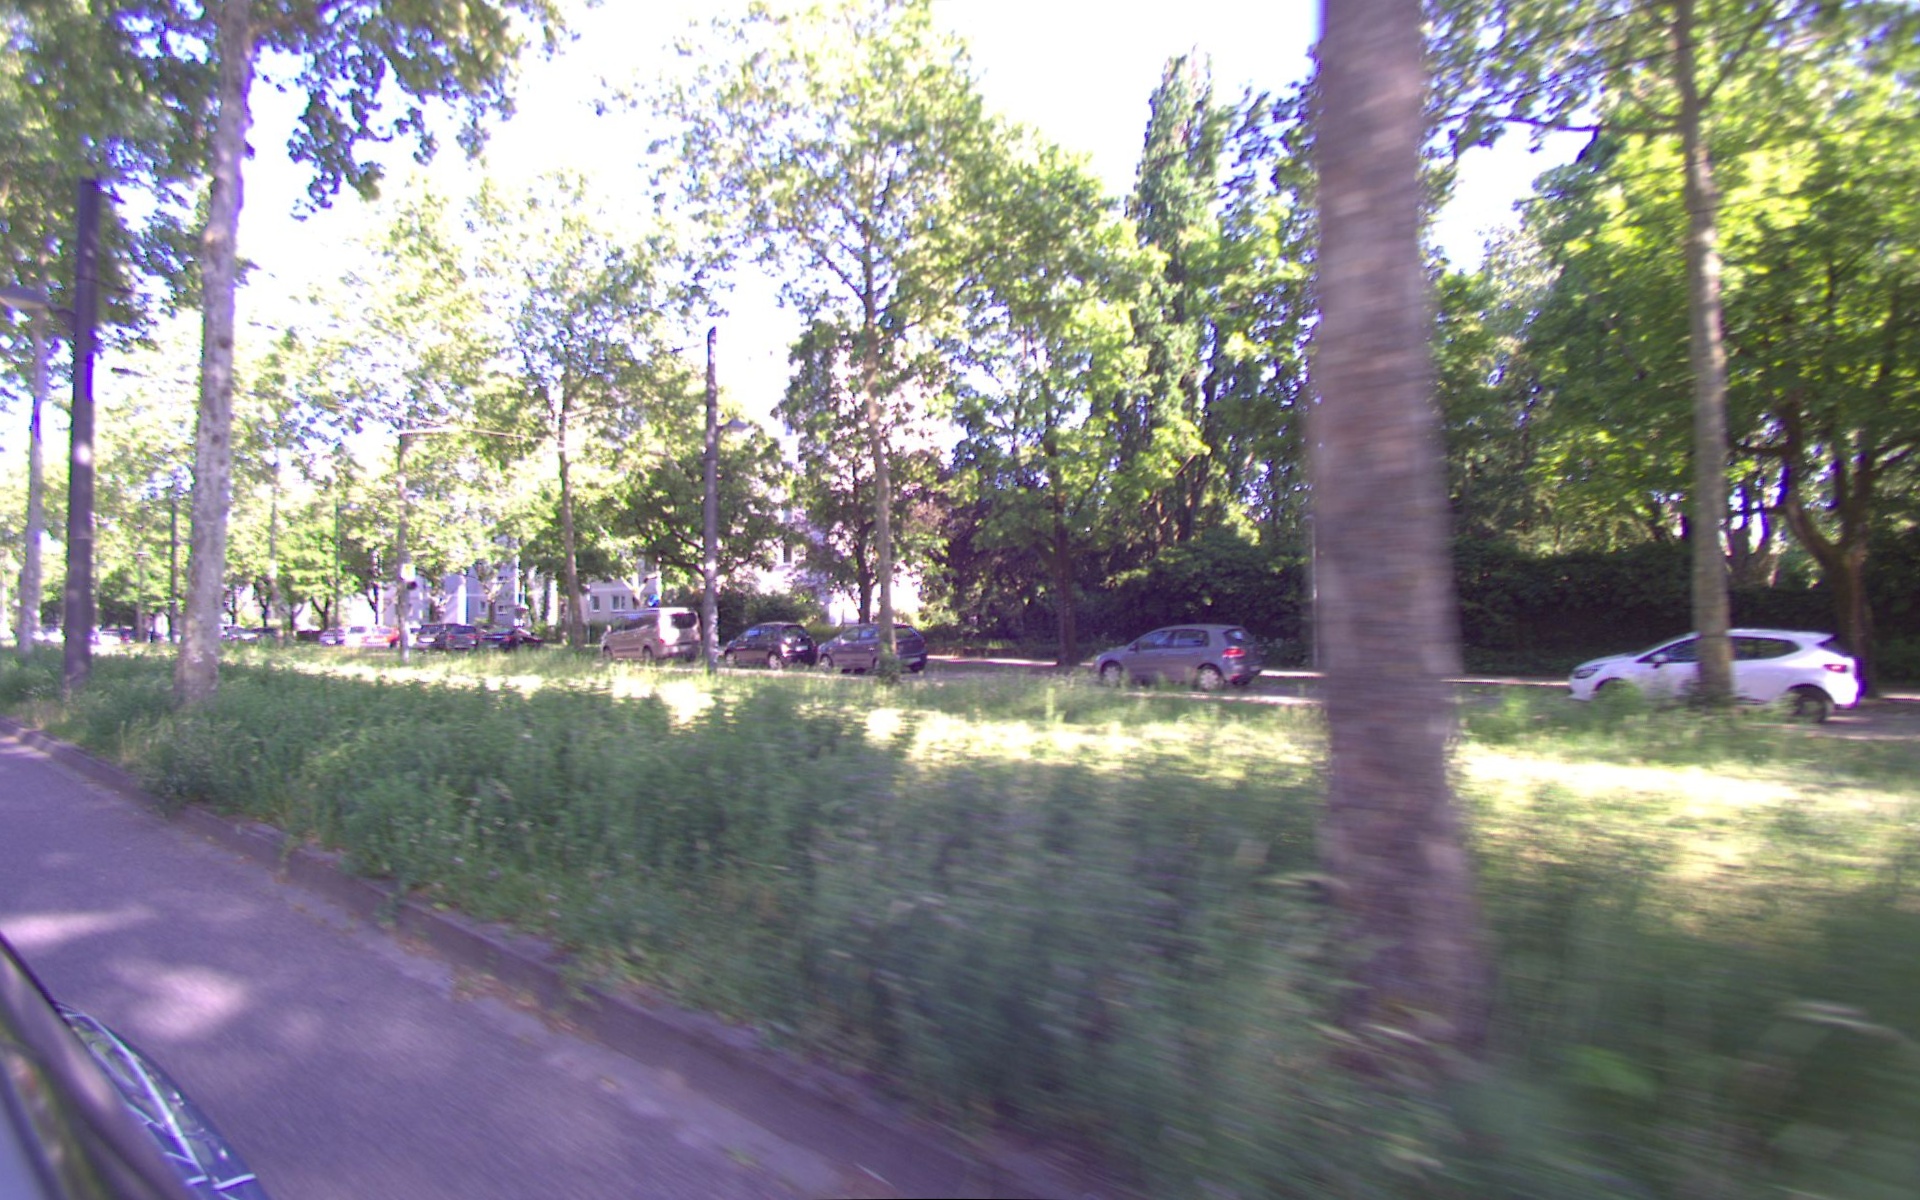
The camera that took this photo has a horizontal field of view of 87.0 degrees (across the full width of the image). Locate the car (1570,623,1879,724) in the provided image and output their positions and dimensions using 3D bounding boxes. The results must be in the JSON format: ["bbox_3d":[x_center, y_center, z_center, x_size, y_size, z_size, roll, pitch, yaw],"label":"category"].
[{"bbox_3d":[12.900,1.161,17.239,4.022,1.429,1.701,-1,2,42],"label":"car"}]

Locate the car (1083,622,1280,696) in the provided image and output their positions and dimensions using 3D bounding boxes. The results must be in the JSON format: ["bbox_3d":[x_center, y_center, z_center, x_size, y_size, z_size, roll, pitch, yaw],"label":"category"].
[{"bbox_3d":[5.216,1.332,24.075,4.176,1.499,1.820,-2,2,40],"label":"car"}]

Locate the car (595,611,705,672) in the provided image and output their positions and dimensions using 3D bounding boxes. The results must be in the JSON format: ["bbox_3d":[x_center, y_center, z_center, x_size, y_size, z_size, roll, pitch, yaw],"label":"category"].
[{"bbox_3d":[-11.863,1.532,38.653,4.276,2.072,1.961,-1,2,41],"label":"car"}]

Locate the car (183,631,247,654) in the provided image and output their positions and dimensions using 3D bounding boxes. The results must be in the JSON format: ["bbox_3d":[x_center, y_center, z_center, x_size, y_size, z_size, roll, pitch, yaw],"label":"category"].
[{"bbox_3d":[-59.102,3.346,80.370,1.821,1.722,3.988,-1,0,10],"label":"car"}]

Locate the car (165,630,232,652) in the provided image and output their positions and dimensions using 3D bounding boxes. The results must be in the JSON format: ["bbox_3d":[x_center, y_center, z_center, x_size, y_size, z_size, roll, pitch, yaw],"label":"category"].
[{"bbox_3d":[-64.031,3.428,85.178,1.821,1.722,4.486,-1,0,10],"label":"car"}]

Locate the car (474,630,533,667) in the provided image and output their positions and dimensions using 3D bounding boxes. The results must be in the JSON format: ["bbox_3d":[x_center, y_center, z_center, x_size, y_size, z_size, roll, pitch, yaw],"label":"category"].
[{"bbox_3d":[-22.021,2.310,48.977,1.858,1.579,4.010,-1,0,-13],"label":"car"}]

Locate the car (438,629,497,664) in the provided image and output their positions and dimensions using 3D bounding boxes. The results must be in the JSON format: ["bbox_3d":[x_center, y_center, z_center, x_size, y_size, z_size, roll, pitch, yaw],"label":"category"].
[{"bbox_3d":[-25.358,2.366,52.193,1.858,1.579,4.010,-1,0,-13],"label":"car"}]

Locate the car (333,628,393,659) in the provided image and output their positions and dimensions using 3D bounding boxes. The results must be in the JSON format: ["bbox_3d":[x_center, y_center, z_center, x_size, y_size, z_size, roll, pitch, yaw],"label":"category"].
[{"bbox_3d":[-36.632,2.619,62.174,1.868,1.722,4.511,-1,0,-13],"label":"car"}]

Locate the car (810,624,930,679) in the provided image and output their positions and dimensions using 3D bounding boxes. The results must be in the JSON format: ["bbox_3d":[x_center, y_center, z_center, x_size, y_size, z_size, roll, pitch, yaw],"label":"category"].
[{"bbox_3d":[-2.765,1.526,30.697,3.568,1.499,1.525,-2,1,41],"label":"car"}]

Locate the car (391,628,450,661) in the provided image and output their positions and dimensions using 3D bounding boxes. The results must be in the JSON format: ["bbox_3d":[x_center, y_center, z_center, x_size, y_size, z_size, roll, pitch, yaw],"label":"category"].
[{"bbox_3d":[-30.963,2.507,58.252,1.868,1.722,4.511,-1,0,-13],"label":"car"}]

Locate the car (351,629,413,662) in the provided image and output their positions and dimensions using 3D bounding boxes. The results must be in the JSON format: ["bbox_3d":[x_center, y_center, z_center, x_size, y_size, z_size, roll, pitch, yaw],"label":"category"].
[{"bbox_3d":[-33.503,2.581,58.818,1.868,1.722,4.511,-1,0,-13],"label":"car"}]

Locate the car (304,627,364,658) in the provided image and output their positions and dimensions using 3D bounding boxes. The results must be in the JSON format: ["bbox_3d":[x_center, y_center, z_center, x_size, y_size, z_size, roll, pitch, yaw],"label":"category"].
[{"bbox_3d":[-39.489,2.657,63.980,1.868,1.722,4.511,-1,0,-13],"label":"car"}]

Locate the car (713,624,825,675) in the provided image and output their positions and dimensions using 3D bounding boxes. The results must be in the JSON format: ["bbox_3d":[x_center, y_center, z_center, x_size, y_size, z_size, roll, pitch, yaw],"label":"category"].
[{"bbox_3d":[-6.510,1.643,34.361,3.816,1.507,1.732,-1,2,42],"label":"car"}]

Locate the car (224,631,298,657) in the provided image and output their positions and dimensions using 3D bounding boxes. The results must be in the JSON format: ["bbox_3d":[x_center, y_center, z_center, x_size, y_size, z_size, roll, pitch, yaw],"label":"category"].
[{"bbox_3d":[-51.063,3.218,74.027,1.879,1.722,4.486,-1,0,10],"label":"car"}]

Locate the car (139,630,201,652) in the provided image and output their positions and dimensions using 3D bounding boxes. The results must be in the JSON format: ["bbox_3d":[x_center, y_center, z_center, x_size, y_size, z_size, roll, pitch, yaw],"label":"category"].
[{"bbox_3d":[-67.084,3.470,86.022,1.821,1.722,3.988,-1,0,10],"label":"car"}]

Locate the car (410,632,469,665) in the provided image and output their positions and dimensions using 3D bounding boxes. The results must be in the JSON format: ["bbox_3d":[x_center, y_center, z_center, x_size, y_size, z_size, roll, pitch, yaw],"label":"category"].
[{"bbox_3d":[-28.006,2.602,54.587,1.858,1.579,4.010,-1,0,-13],"label":"car"}]
